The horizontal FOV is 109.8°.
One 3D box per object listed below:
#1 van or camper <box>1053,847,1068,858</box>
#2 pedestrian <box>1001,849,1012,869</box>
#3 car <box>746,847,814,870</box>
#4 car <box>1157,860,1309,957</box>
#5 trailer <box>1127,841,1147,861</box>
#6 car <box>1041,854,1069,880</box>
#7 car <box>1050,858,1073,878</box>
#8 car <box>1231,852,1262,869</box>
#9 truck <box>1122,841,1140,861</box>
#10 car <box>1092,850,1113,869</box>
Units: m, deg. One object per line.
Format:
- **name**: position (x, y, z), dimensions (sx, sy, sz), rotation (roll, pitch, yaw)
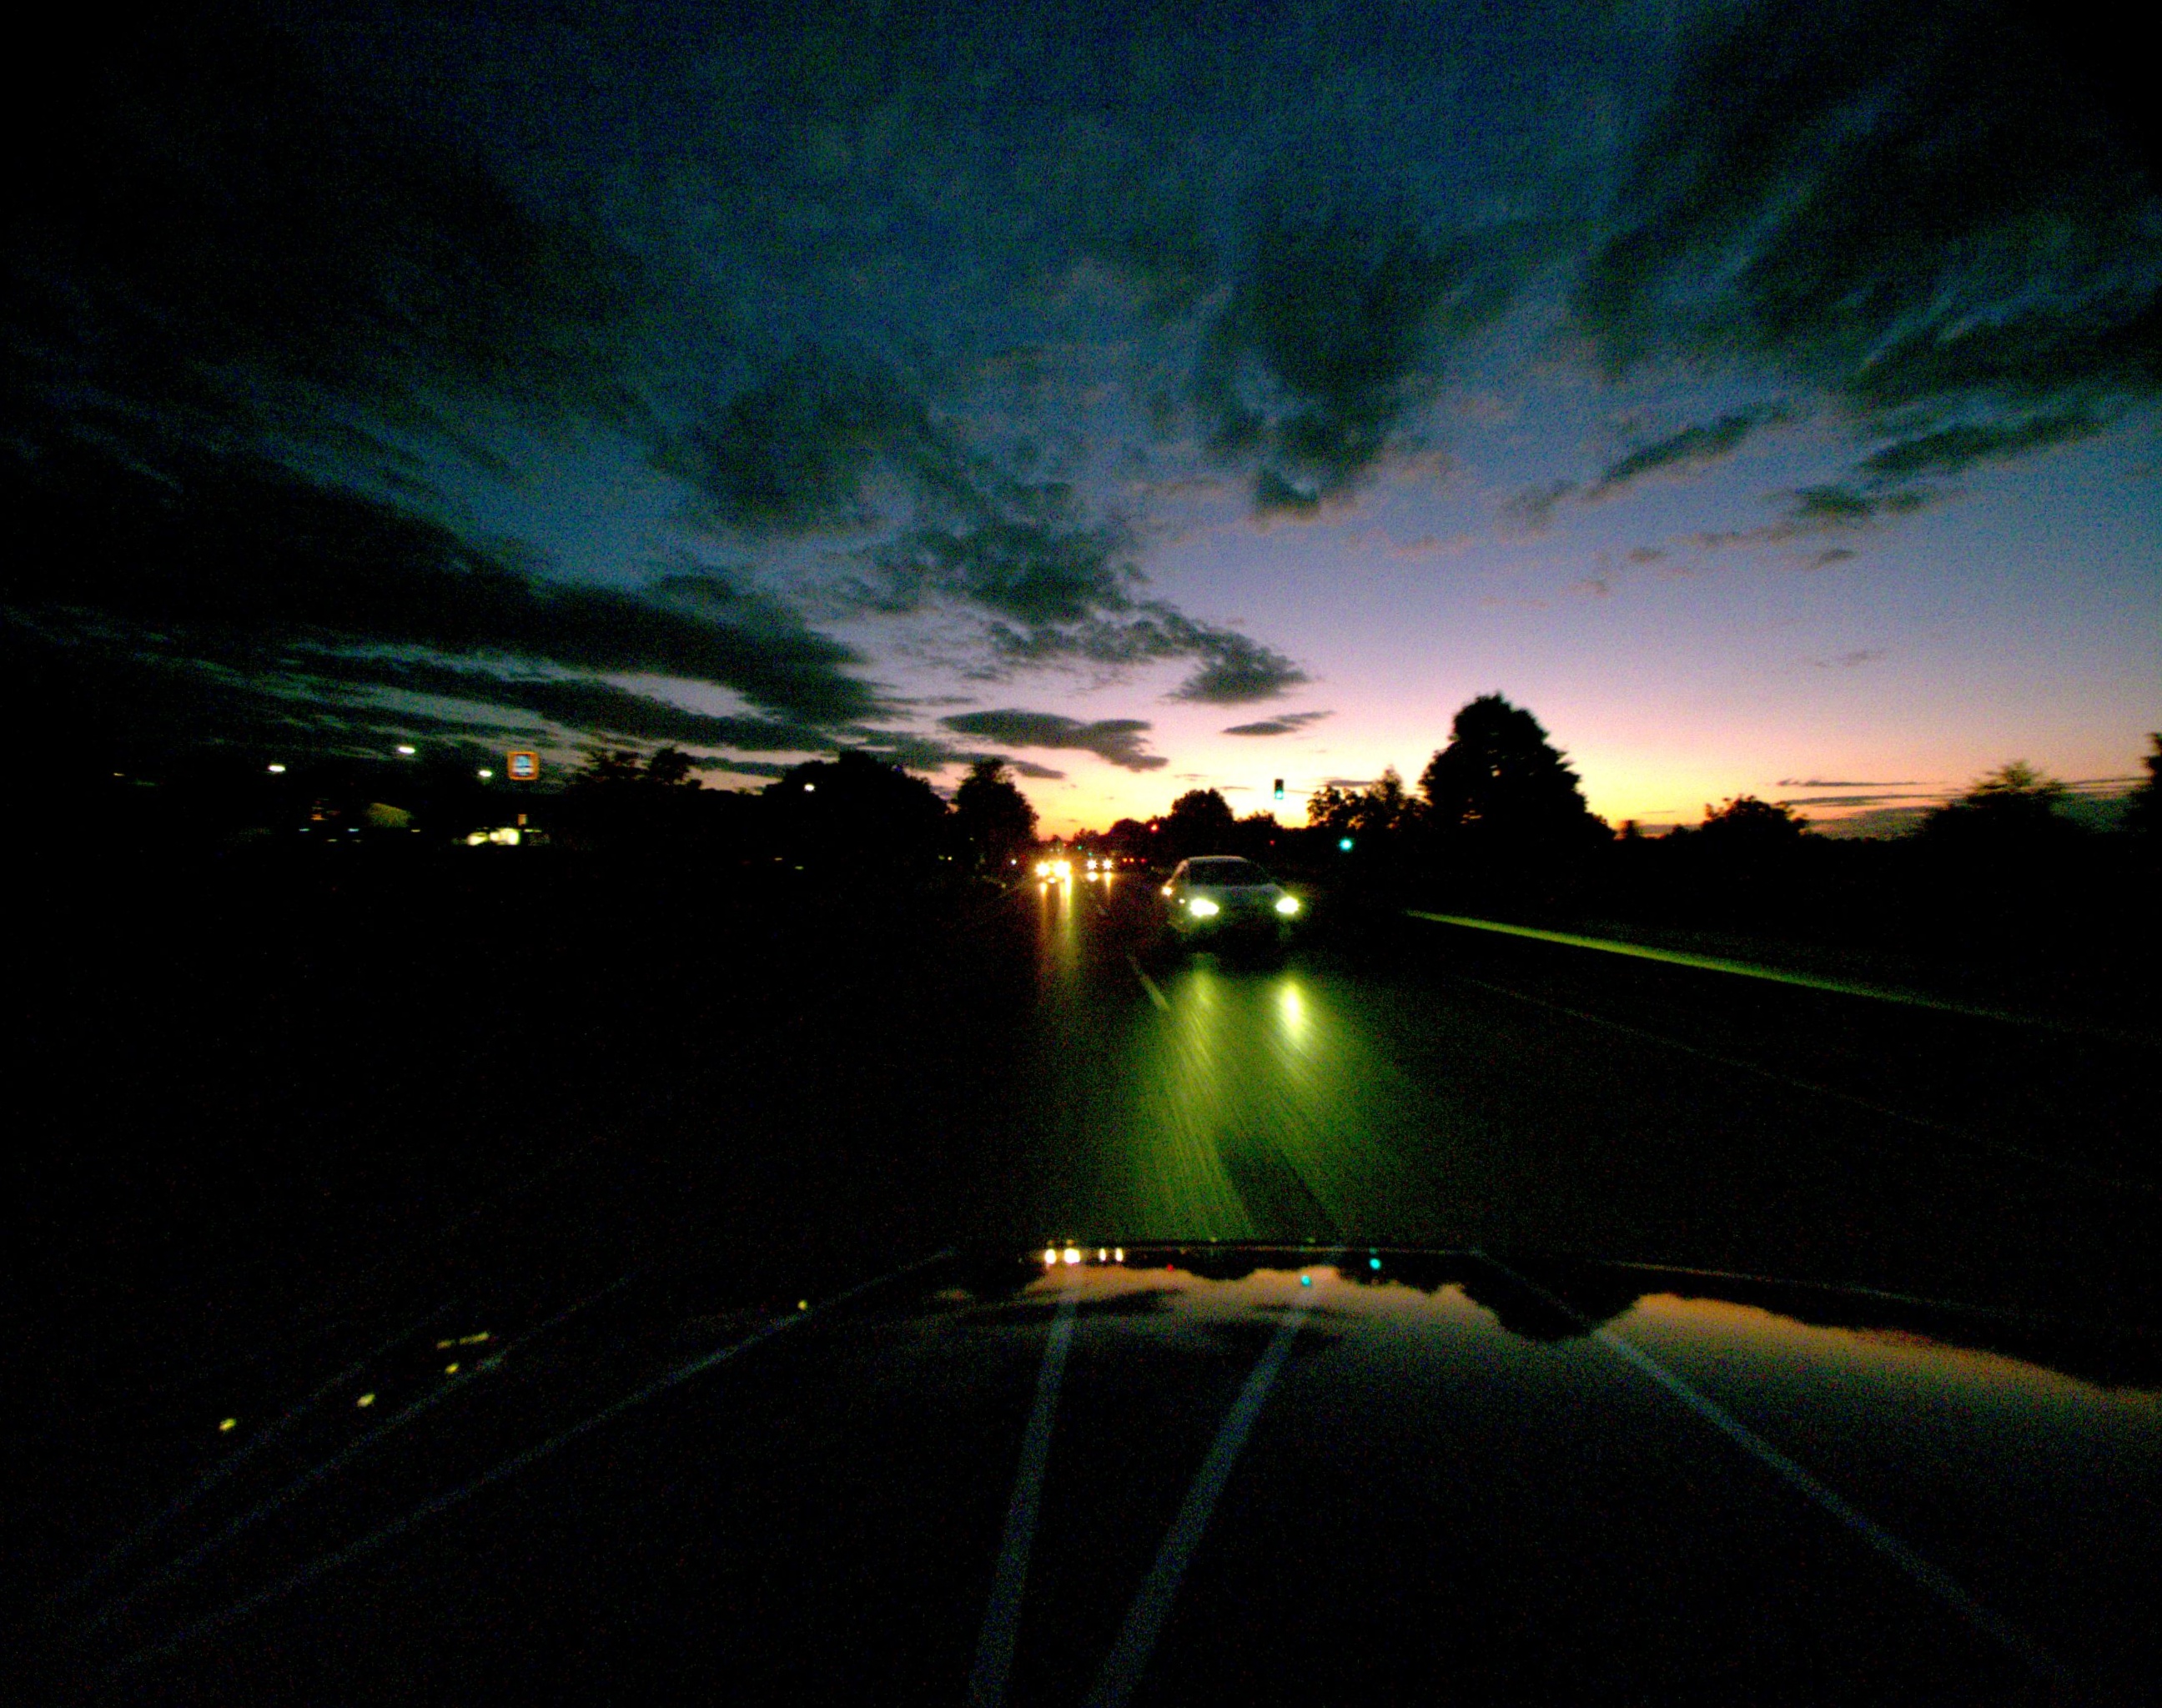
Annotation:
- **van or camper**: position (-5.809, -0.400, 218.078), dimensions (3.950, 3.107, 9.940), rotation (0, 0, -1)
- **pedestrian**: position (-7.418, 0.480, 76.012), dimensions (0.782, 2.002, 0.712), rotation (-3, 2, -39)
- **car**: position (-23.061, 0.337, 58.269), dimensions (4.478, 1.654, 1.998), rotation (1, 0, -9)
- **car**: position (2.571, 0.857, 14.025), dimensions (1.819, 1.428, 4.646), rotation (-2, 0, 0)
- **trailer**: position (11.191, -0.598, 152.502), dimensions (2.584, 3.920, 8.872), rotation (2, 0, -5)
- **car**: position (-1.616, 0.807, 48.665), dimensions (1.663, 1.528, 3.715), rotation (-1, 0, 0)
- **car**: position (-1.753, 1.275, 68.563), dimensions (1.902, 1.548, 4.299), rotation (-3, 1, 0)
- **car**: position (14.203, 0.552, 65.399), dimensions (1.656, 1.376, 4.029), rotation (-2, 1, -2)
- **truck**: position (10.543, -0.636, 162.148), dimensions (2.733, 4.093, 10.342), rotation (-1, 1, -3)
- **car**: position (1.991, 0.536, 71.627), dimensions (1.760, 1.692, 4.249), rotation (-2, 0, 0)
